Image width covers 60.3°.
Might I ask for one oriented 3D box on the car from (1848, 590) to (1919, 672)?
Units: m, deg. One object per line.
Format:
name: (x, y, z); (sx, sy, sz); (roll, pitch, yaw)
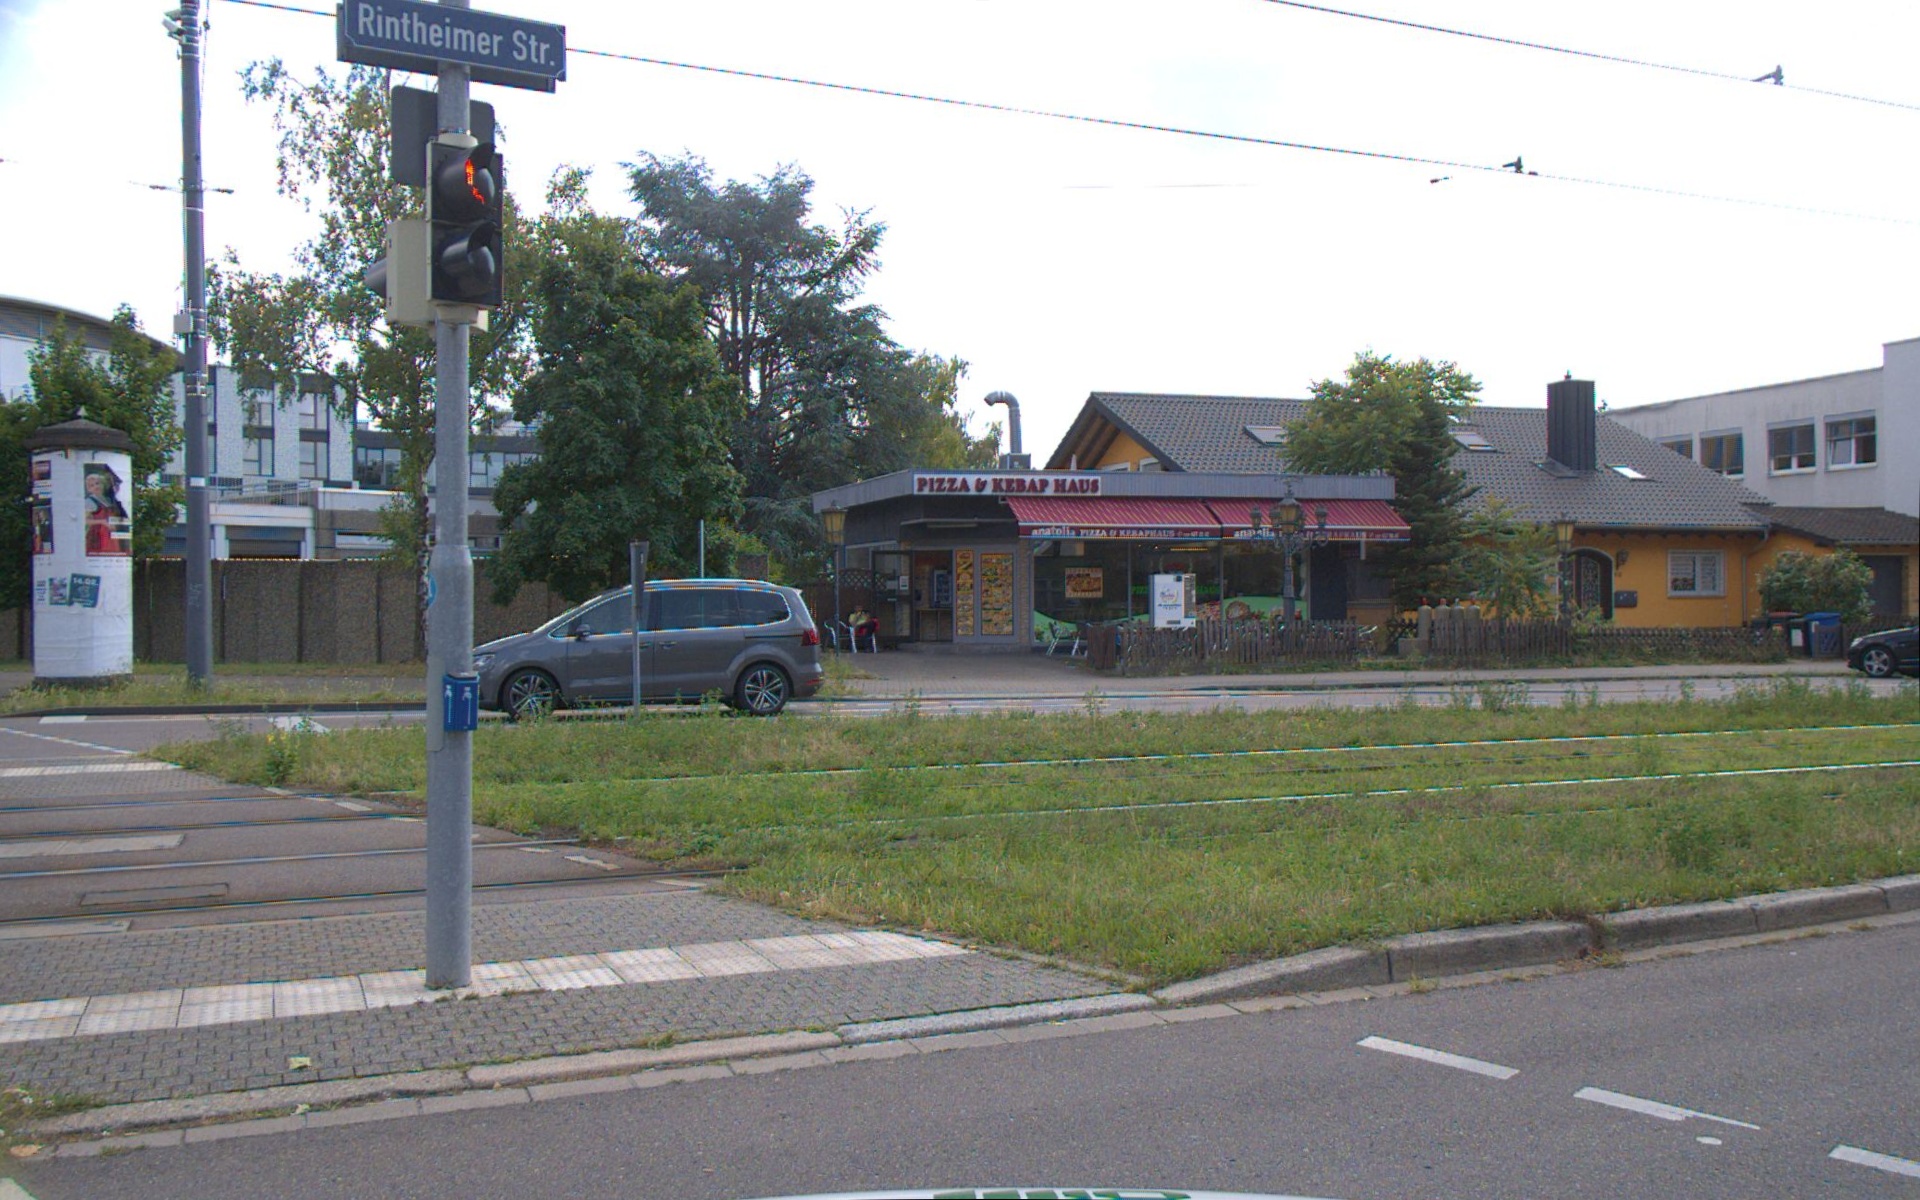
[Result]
car: (20.054, 0.578, 32.167); (1.980, 1.608, 4.517); (0, -1, -38)

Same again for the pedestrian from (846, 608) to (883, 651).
pedestrian: (-2.160, 0.660, 37.466); (0.712, 0.945, 0.774); (0, 2, -13)

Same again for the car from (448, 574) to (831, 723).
car: (-4.156, 0.560, 21.312); (4.652, 1.752, 1.990); (-1, 0, -18)
